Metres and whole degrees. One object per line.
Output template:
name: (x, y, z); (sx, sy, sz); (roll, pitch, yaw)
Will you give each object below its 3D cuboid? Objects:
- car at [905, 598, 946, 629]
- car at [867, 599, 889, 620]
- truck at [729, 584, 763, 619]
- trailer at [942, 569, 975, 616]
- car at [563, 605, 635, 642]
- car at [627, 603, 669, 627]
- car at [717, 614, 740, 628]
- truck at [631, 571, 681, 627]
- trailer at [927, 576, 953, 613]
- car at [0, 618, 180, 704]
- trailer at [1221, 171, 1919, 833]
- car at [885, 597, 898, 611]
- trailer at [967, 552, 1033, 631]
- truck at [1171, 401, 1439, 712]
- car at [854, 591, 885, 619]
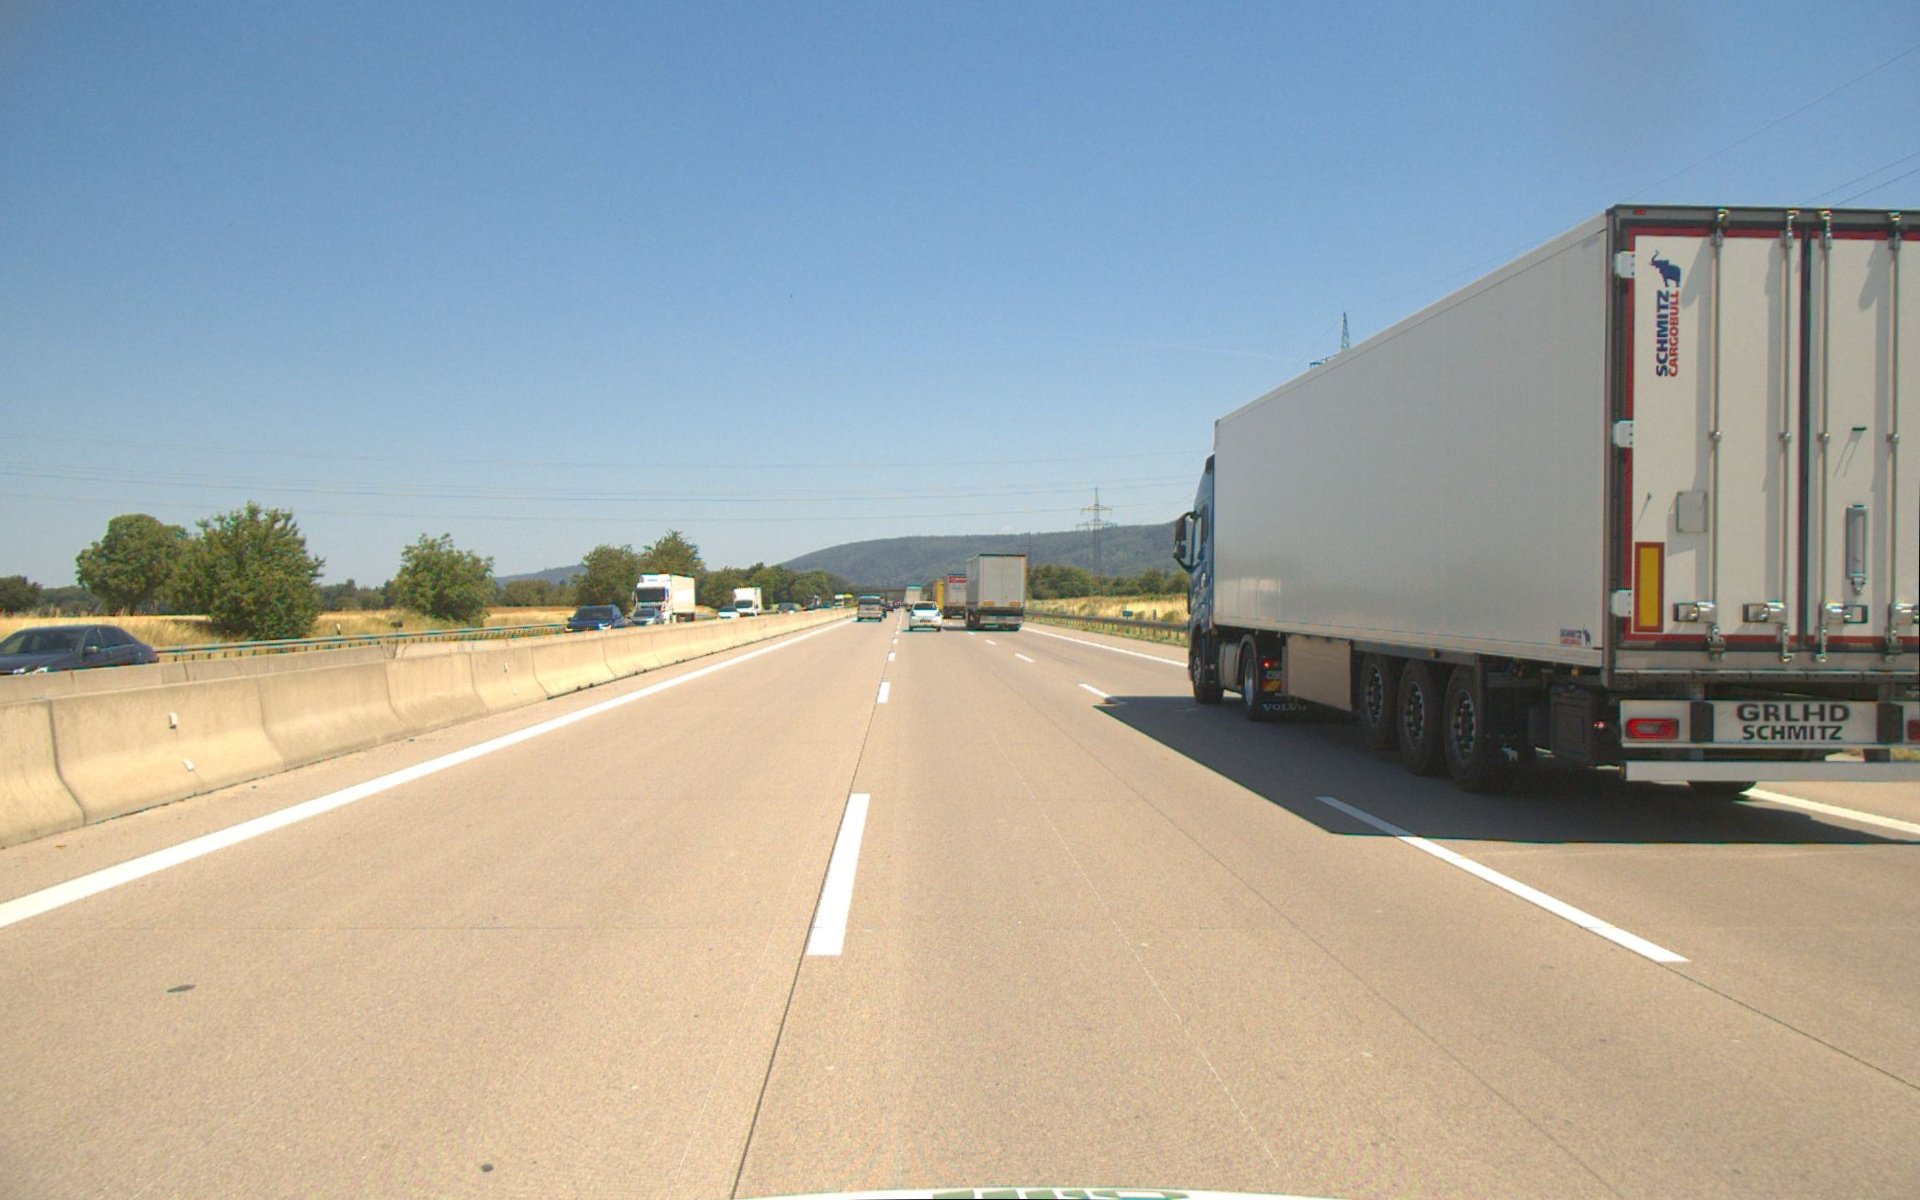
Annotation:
car: (-1.786, 0.701, 85.951); (2.064, 1.563, 4.121); (1, 0, -1)
car: (-7.827, 0.879, 158.375); (1.953, 1.991, 3.998); (1, 0, -2)
truck: (-20.172, 0.142, 156.043); (2.496, 3.197, 7.919); (0, 0, -2)
trailer: (-0.196, -0.659, 154.577); (2.815, 4.172, 13.509); (1, 0, -1)
car: (-12.990, 0.837, 59.733); (1.736, 1.261, 4.675); (1, 0, -2)
car: (-18.301, 0.866, 97.168); (1.700, 1.397, 4.904); (1, 0, -2)
car: (-19.693, 1.796, 140.944); (1.647, 1.166, 4.394); (0, 0, -4)
truck: (-23.073, -0.070, 125.801); (2.762, 4.115, 5.676); (1, 0, -1)
trailer: (-2.667, -0.660, 216.159); (3.151, 4.643, 13.451); (1, 0, -2)
car: (-16.160, 1.049, 30.142); (1.678, 1.383, 5.041); (1, 0, -3)
trailer: (5.216, -0.588, 16.815); (2.654, 4.114, 12.897); (1, 0, -2)
car: (-9.895, 0.565, 239.675); (1.748, 1.914, 3.998); (1, 0, -2)
trailer: (2.141, -0.417, 93.978); (2.957, 4.132, 14.202); (1, 0, -1)
truck: (4.974, -0.572, 24.863); (2.695, 4.114, 5.464); (1, 0, -2)
car: (-6.893, 0.388, 126.168); (2.209, 2.049, 4.296); (1, 0, -1)
